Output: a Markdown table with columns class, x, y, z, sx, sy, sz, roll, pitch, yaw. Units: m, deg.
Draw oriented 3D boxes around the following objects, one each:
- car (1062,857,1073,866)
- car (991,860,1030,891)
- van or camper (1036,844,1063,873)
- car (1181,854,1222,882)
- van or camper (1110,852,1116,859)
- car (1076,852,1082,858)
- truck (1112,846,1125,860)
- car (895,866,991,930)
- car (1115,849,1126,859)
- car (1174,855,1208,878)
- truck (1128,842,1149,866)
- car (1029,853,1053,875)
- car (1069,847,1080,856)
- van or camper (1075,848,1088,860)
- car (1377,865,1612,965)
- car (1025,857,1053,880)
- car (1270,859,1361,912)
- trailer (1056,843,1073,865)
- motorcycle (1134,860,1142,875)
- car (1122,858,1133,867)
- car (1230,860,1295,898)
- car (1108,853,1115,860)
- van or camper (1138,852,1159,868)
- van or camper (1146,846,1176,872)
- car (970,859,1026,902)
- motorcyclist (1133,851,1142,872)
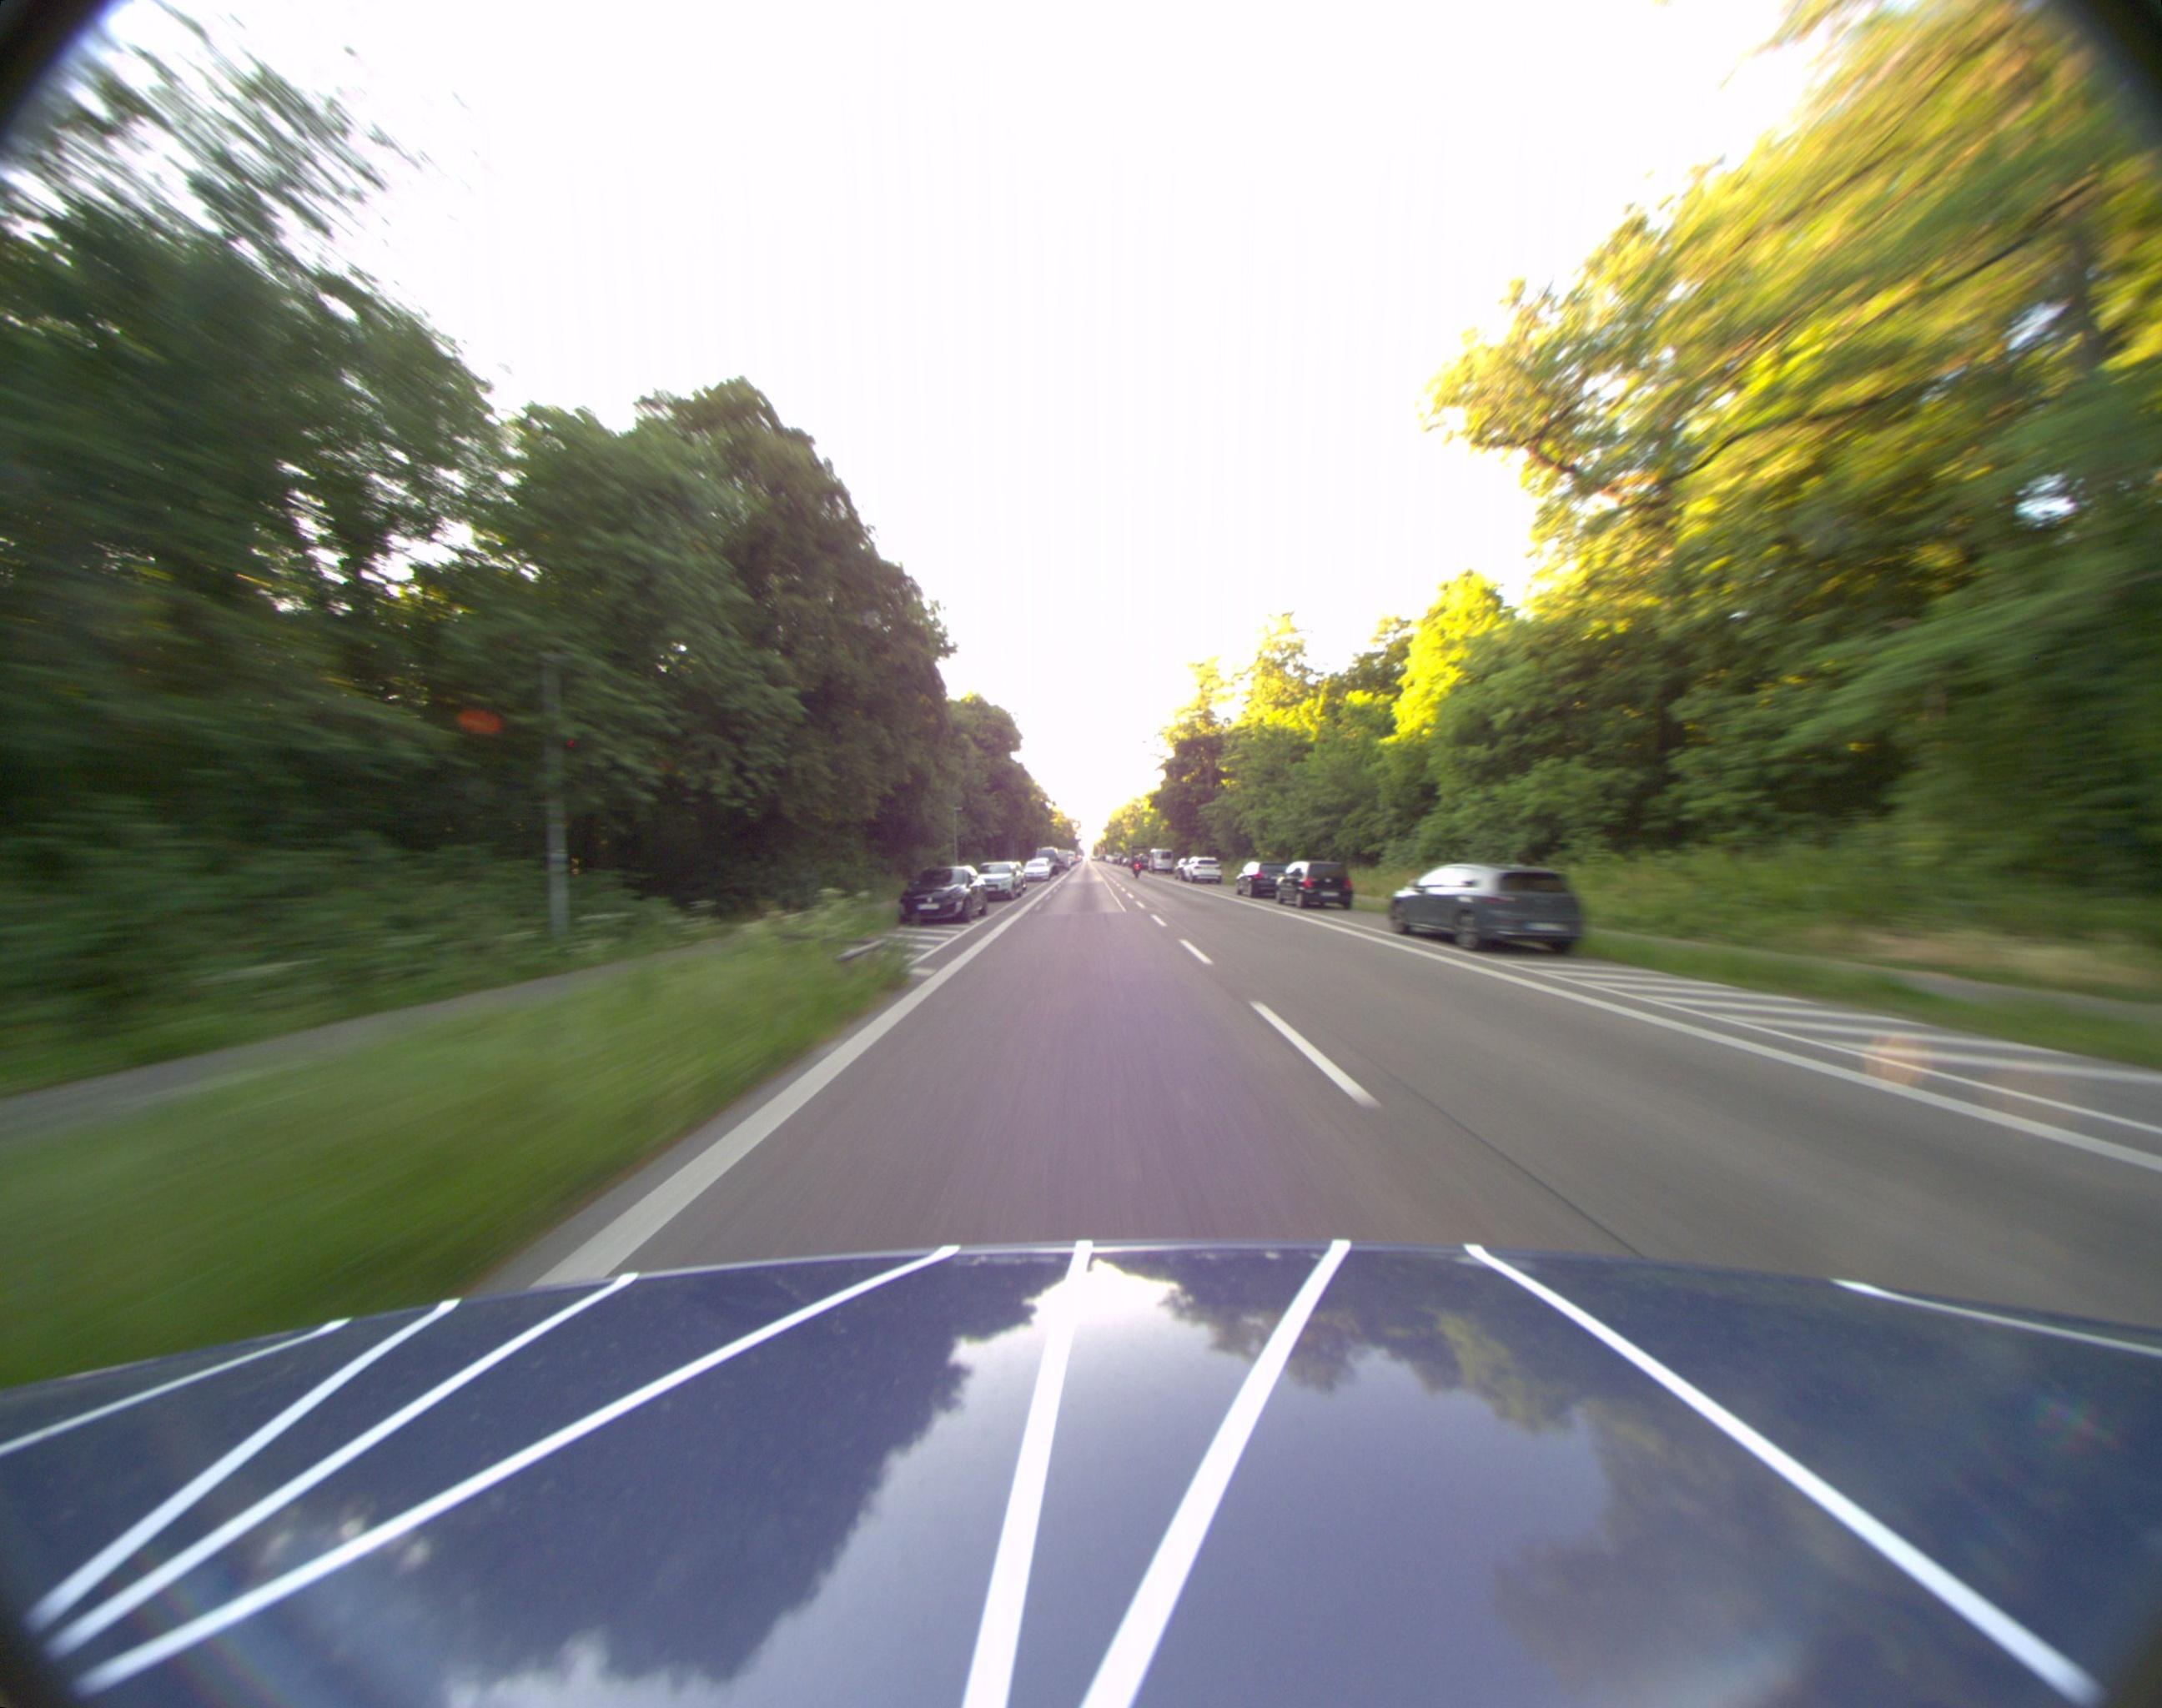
| class | x | y | z | sx | sy | sz | roll | pitch | yaw |
| --- | --- | --- | --- | --- | --- | --- | --- | --- | --- |
| car | -2.397 | 1.344 | 135.118 | 1.844 | 1.585 | 4.197 | 0 | 0 | 1 |
| car | -3.423 | 1.015 | 37.495 | 1.583 | 1.438 | 3.961 | -1 | 0 | 0 |
| van or camper | -2.916 | 0.431 | 71.539 | 2.132 | 2.526 | 6.060 | -2 | 0 | 0 |
| car | 7.473 | 0.816 | 47.392 | 1.699 | 1.636 | 4.572 | 1 | 0 | -1 |
| van or camper | 9.160 | 0.326 | 217.688 | 1.844 | 1.965 | 4.197 | 0 | 0 | 1 |
| car | -0.757 | 0.356 | 238.991 | 1.844 | 2.007 | 4.197 | 0 | 0 | 1 |
| truck | 8.861 | -0.251 | 179.629 | 2.654 | 3.038 | 5.800 | -2 | 1 | 1 |
| car | -3.543 | 1.081 | 20.257 | 1.715 | 1.436 | 4.122 | -2 | 0 | 1 |
| car | 7.864 | 0.023 | 149.783 | 1.852 | 1.948 | 3.935 | 3 | 0 | -1 |
| car | 7.581 | 0.861 | 52.644 | 1.676 | 1.511 | 3.735 | 1 | 0 | -1 |
| truck | 8.092 | 0.013 | 107.841 | 2.226 | 3.188 | 6.270 | 3 | 0 | -1 |
| car | -3.415 | 0.862 | 65.115 | 1.856 | 1.754 | 4.723 | -2 | 0 | -2 |
| car | -1.600 | -0.606 | 187.050 | 2.537 | 2.270 | 5.554 | 0 | 0 | 1 |
| van or camper | 0.216 | -0.025 | 180.089 | 3.015 | 2.704 | 6.960 | 0 | 0 | 1 |
| car | 7.210 | 0.970 | 13.840 | 1.850 | 1.454 | 4.228 | 1 | 0 | -2 |
| car | -2.946 | 1.023 | 53.928 | 1.848 | 1.485 | 4.758 | -2 | 0 | -2 |
| car | 7.314 | 0.925 | 24.071 | 1.716 | 1.500 | 3.656 | 1 | 0 | 0 |
| trailer | -2.071 | -0.033 | 94.484 | 1.866 | 2.633 | 4.269 | -2 | 1 | 0 |
| motorcycle | 4.242 | 0.988 | 56.770 | 0.612 | 1.120 | 1.962 | 0 | 0 | 3 |
| car | 7.815 | 1.391 | 127.952 | 1.606 | 1.495 | 3.760 | 3 | 0 | 3 |
| car | 7.109 | 0.944 | 30.124 | 1.601 | 1.386 | 4.051 | 0 | 0 | 0 |
| car | 9.301 | 0.745 | 231.016 | 1.998 | 1.893 | 4.000 | -2 | 1 | 1 |
| van or camper | 8.388 | 0.723 | 94.482 | 2.034 | 1.945 | 4.691 | 3 | 0 | -2 |
| van or camper | 7.841 | 0.443 | 75.083 | 2.116 | 2.376 | 6.380 | 2 | 0 | -1 |
| car | -3.233 | 1.004 | 30.239 | 1.693 | 1.537 | 4.112 | 0 | 0 | 1 |
| motorcyclist | 4.229 | 0.557 | 56.794 | 0.605 | 1.520 | 0.995 | 0 | 0 | 3 |
